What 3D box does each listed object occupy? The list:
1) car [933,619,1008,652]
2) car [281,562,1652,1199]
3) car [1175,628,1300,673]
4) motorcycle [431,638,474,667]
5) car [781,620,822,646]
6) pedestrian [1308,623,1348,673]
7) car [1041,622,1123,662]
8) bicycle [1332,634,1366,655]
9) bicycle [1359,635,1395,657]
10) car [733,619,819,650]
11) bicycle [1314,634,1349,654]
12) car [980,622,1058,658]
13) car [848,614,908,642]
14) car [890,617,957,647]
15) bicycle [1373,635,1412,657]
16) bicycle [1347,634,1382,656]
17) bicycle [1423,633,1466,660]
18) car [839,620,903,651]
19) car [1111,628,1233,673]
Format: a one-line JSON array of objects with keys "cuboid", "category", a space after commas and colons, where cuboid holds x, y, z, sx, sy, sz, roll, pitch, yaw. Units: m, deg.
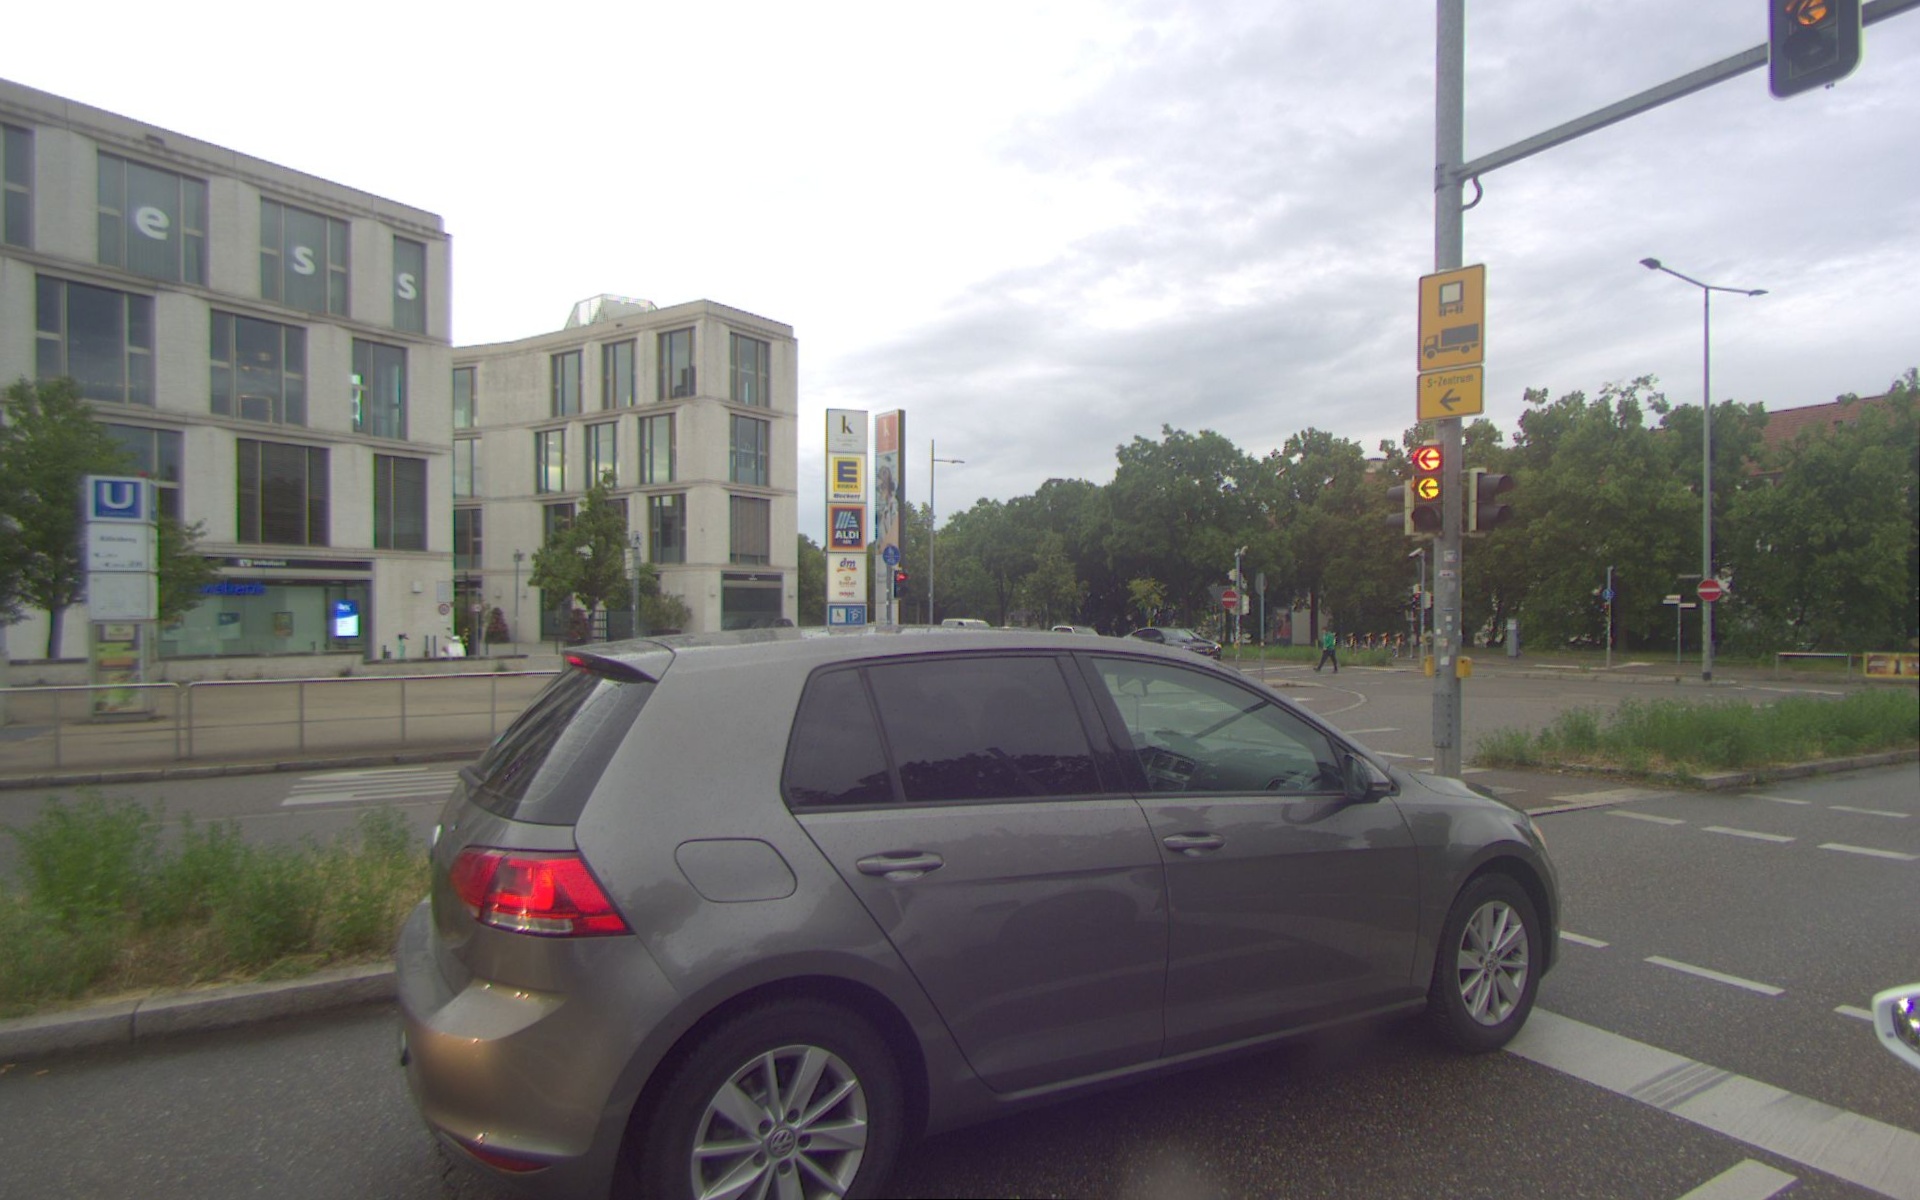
[{"cuboid": [0.531, 1.941, 55.407, 1.976, 1.615, 4.855, 2, 0, -29], "category": "car"}, {"cuboid": [0.326, 0.752, 3.511, 4.325, 1.501, 1.807, 2, -1, -30], "category": "car"}, {"cuboid": [11.307, 2.021, 41.300, 1.976, 1.568, 5.001, 2, 0, -29], "category": "car"}, {"cuboid": [-14.085, 1.446, 27.885, 1.081, 0.750, 0.522, 2, 0, 29], "category": "motorcycle"}, {"cuboid": [-12.739, 2.659, 80.674, 1.976, 2.040, 3.969, 1, -1, -29], "category": "car"}, {"cuboid": [13.207, 1.708, 36.089, 0.932, 1.750, 0.921, 2, 0, -21], "category": "pedestrian"}, {"cuboid": [5.555, 1.907, 46.028, 1.976, 1.615, 3.536, 2, 0, -30], "category": "car"}, {"cuboid": [20.938, 2.388, 54.035, 1.959, 1.085, 0.649, 2, 0, -30], "category": "bicycle"}, {"cuboid": [21.672, 2.394, 52.174, 1.959, 1.085, 0.649, 2, 0, -30], "category": "bicycle"}, {"cuboid": [-9.187, 1.712, 50.321, 1.968, 1.483, 3.985, 0, -2, 37], "category": "car"}, {"cuboid": [20.267, 2.402, 54.765, 1.959, 1.085, 0.649, 2, 0, -30], "category": "bicycle"}, {"cuboid": [2.928, 1.992, 50.936, 1.976, 1.615, 4.185, 2, 0, -29], "category": "car"}, {"cuboid": [-5.458, 1.811, 66.115, 1.977, 1.615, 4.852, 2, 0, -31], "category": "car"}, {"cuboid": [-2.257, 1.882, 60.395, 1.976, 1.615, 4.855, 2, 0, -29], "category": "car"}, {"cuboid": [22.242, 2.360, 51.650, 1.959, 1.085, 0.798, 2, 0, -30], "category": "bicycle"}, {"cuboid": [21.371, 2.377, 53.034, 1.959, 1.085, 0.649, 2, 0, -30], "category": "bicycle"}, {"cuboid": [23.758, 2.294, 49.262, 1.959, 1.266, 0.986, 2, 0, -30], "category": "bicycle"}, {"cuboid": [-5.329, 2.107, 59.700, 1.976, 1.615, 4.855, 2, 0, -29], "category": "car"}, {"cuboid": [8.393, 1.964, 40.241, 1.976, 1.520, 5.001, 2, 0, -29], "category": "car"}]
